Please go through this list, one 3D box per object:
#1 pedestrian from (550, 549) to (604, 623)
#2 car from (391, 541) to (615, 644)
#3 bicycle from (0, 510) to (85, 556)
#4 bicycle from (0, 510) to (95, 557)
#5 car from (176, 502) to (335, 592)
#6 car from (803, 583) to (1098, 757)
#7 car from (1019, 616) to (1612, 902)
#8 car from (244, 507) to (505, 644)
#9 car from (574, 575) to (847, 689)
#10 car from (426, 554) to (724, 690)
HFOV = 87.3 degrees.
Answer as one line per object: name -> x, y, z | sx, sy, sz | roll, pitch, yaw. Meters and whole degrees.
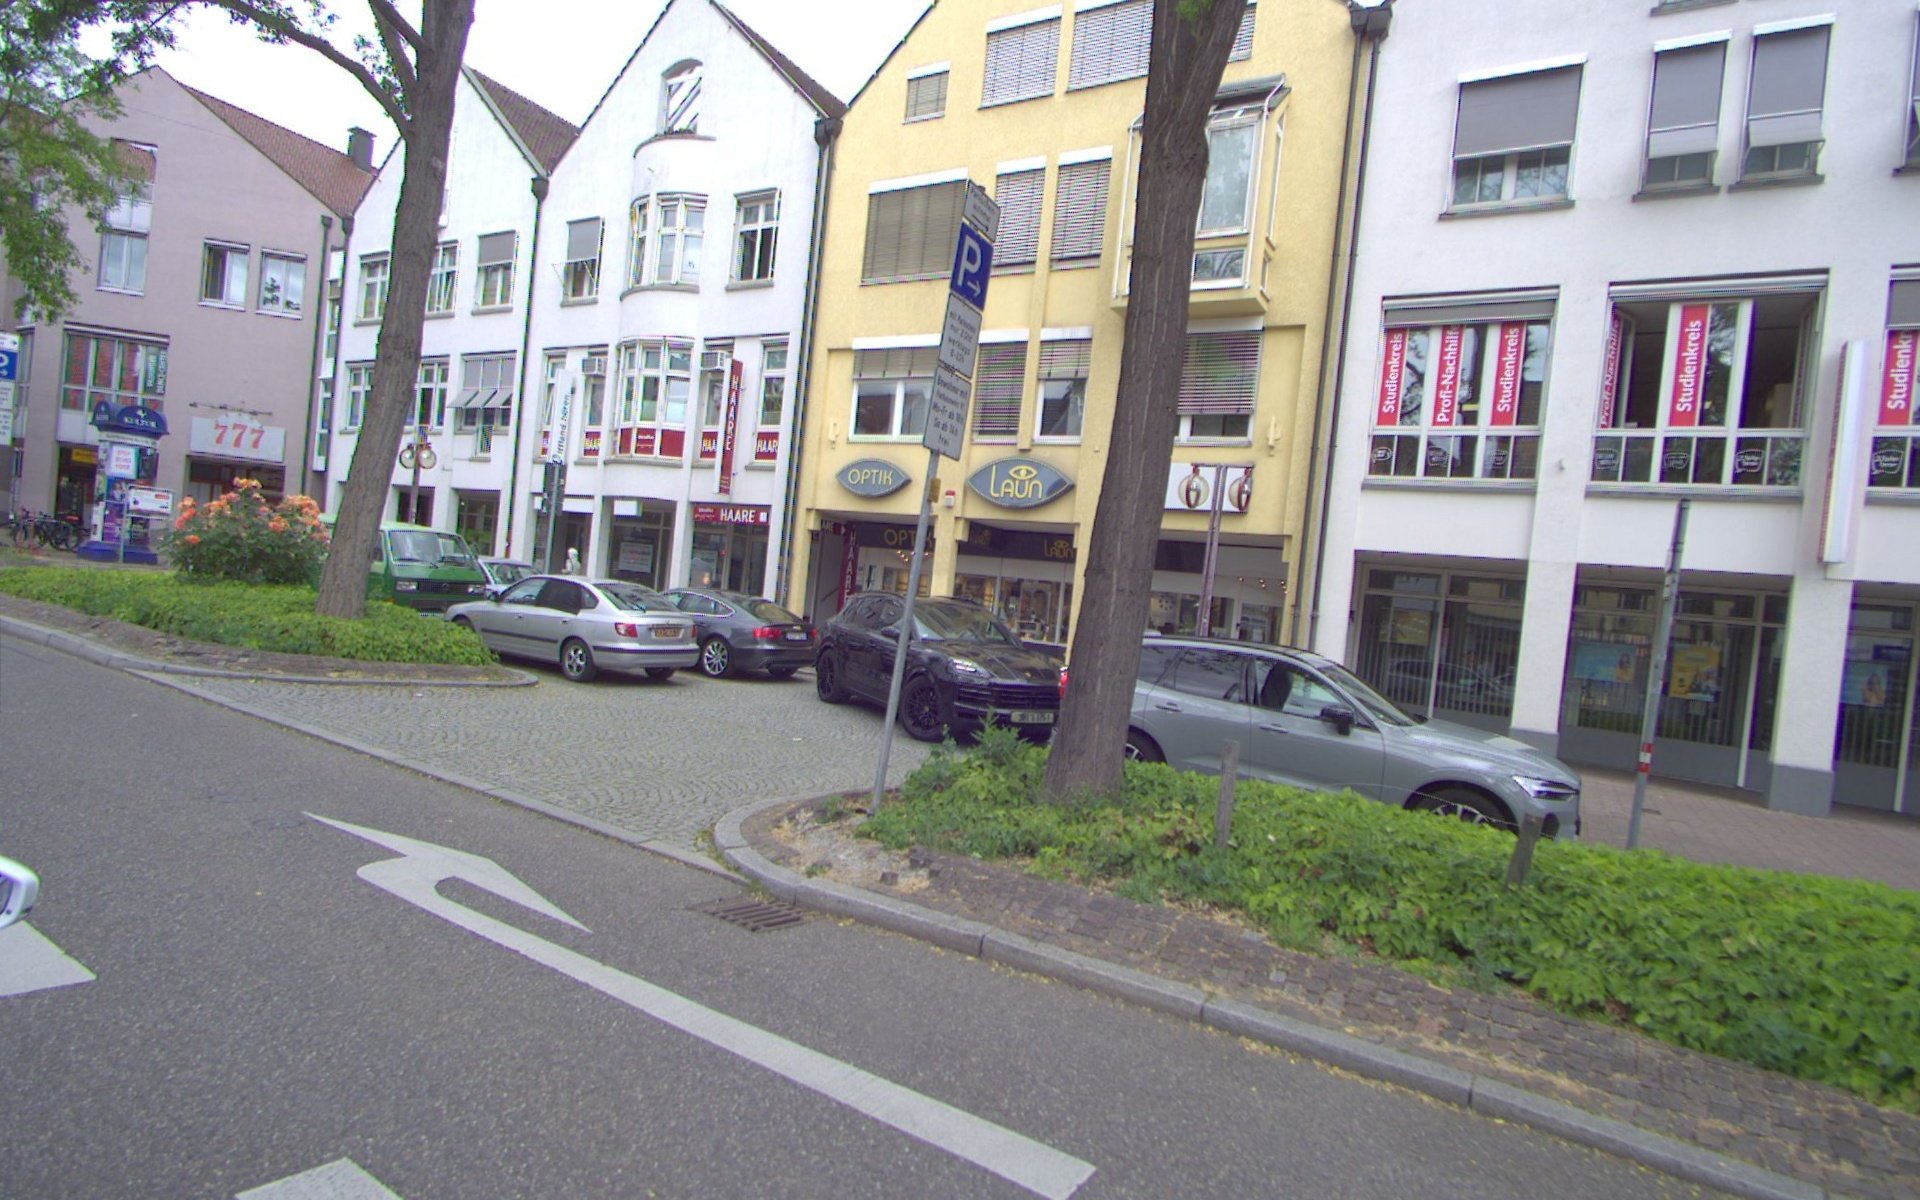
pedestrian -> -9.180, -0.326, 24.120 | 0.805, 1.681, 0.789 | 7, 3, 32
car -> -9.142, -0.162, 20.044 | 4.320, 1.562, 1.798 | 7, 1, 30
bicycle -> -25.479, -1.847, 27.865 | 0.440, 1.009, 1.769 | 7, 0, 36
bicycle -> -25.030, -1.816, 27.570 | 0.460, 1.009, 1.901 | 7, 0, 36
car -> -18.101, -1.367, 25.826 | 3.898, 1.855, 1.639 | 7, 1, 28
car -> -0.357, 0.807, 13.519 | 1.838, 1.692, 4.627 | 6, 1, -29
car -> 3.168, 1.261, 9.462 | 4.682, 1.615, 1.997 | 7, 0, 29
car -> -10.319, -0.451, 17.656 | 4.528, 1.900, 1.882 | 7, 1, 30
car -> -4.362, 0.519, 17.466 | 4.344, 1.394, 1.999 | 7, 1, 30
car -> -5.844, 0.304, 15.138 | 4.344, 1.468, 1.765 | 7, 0, 30
